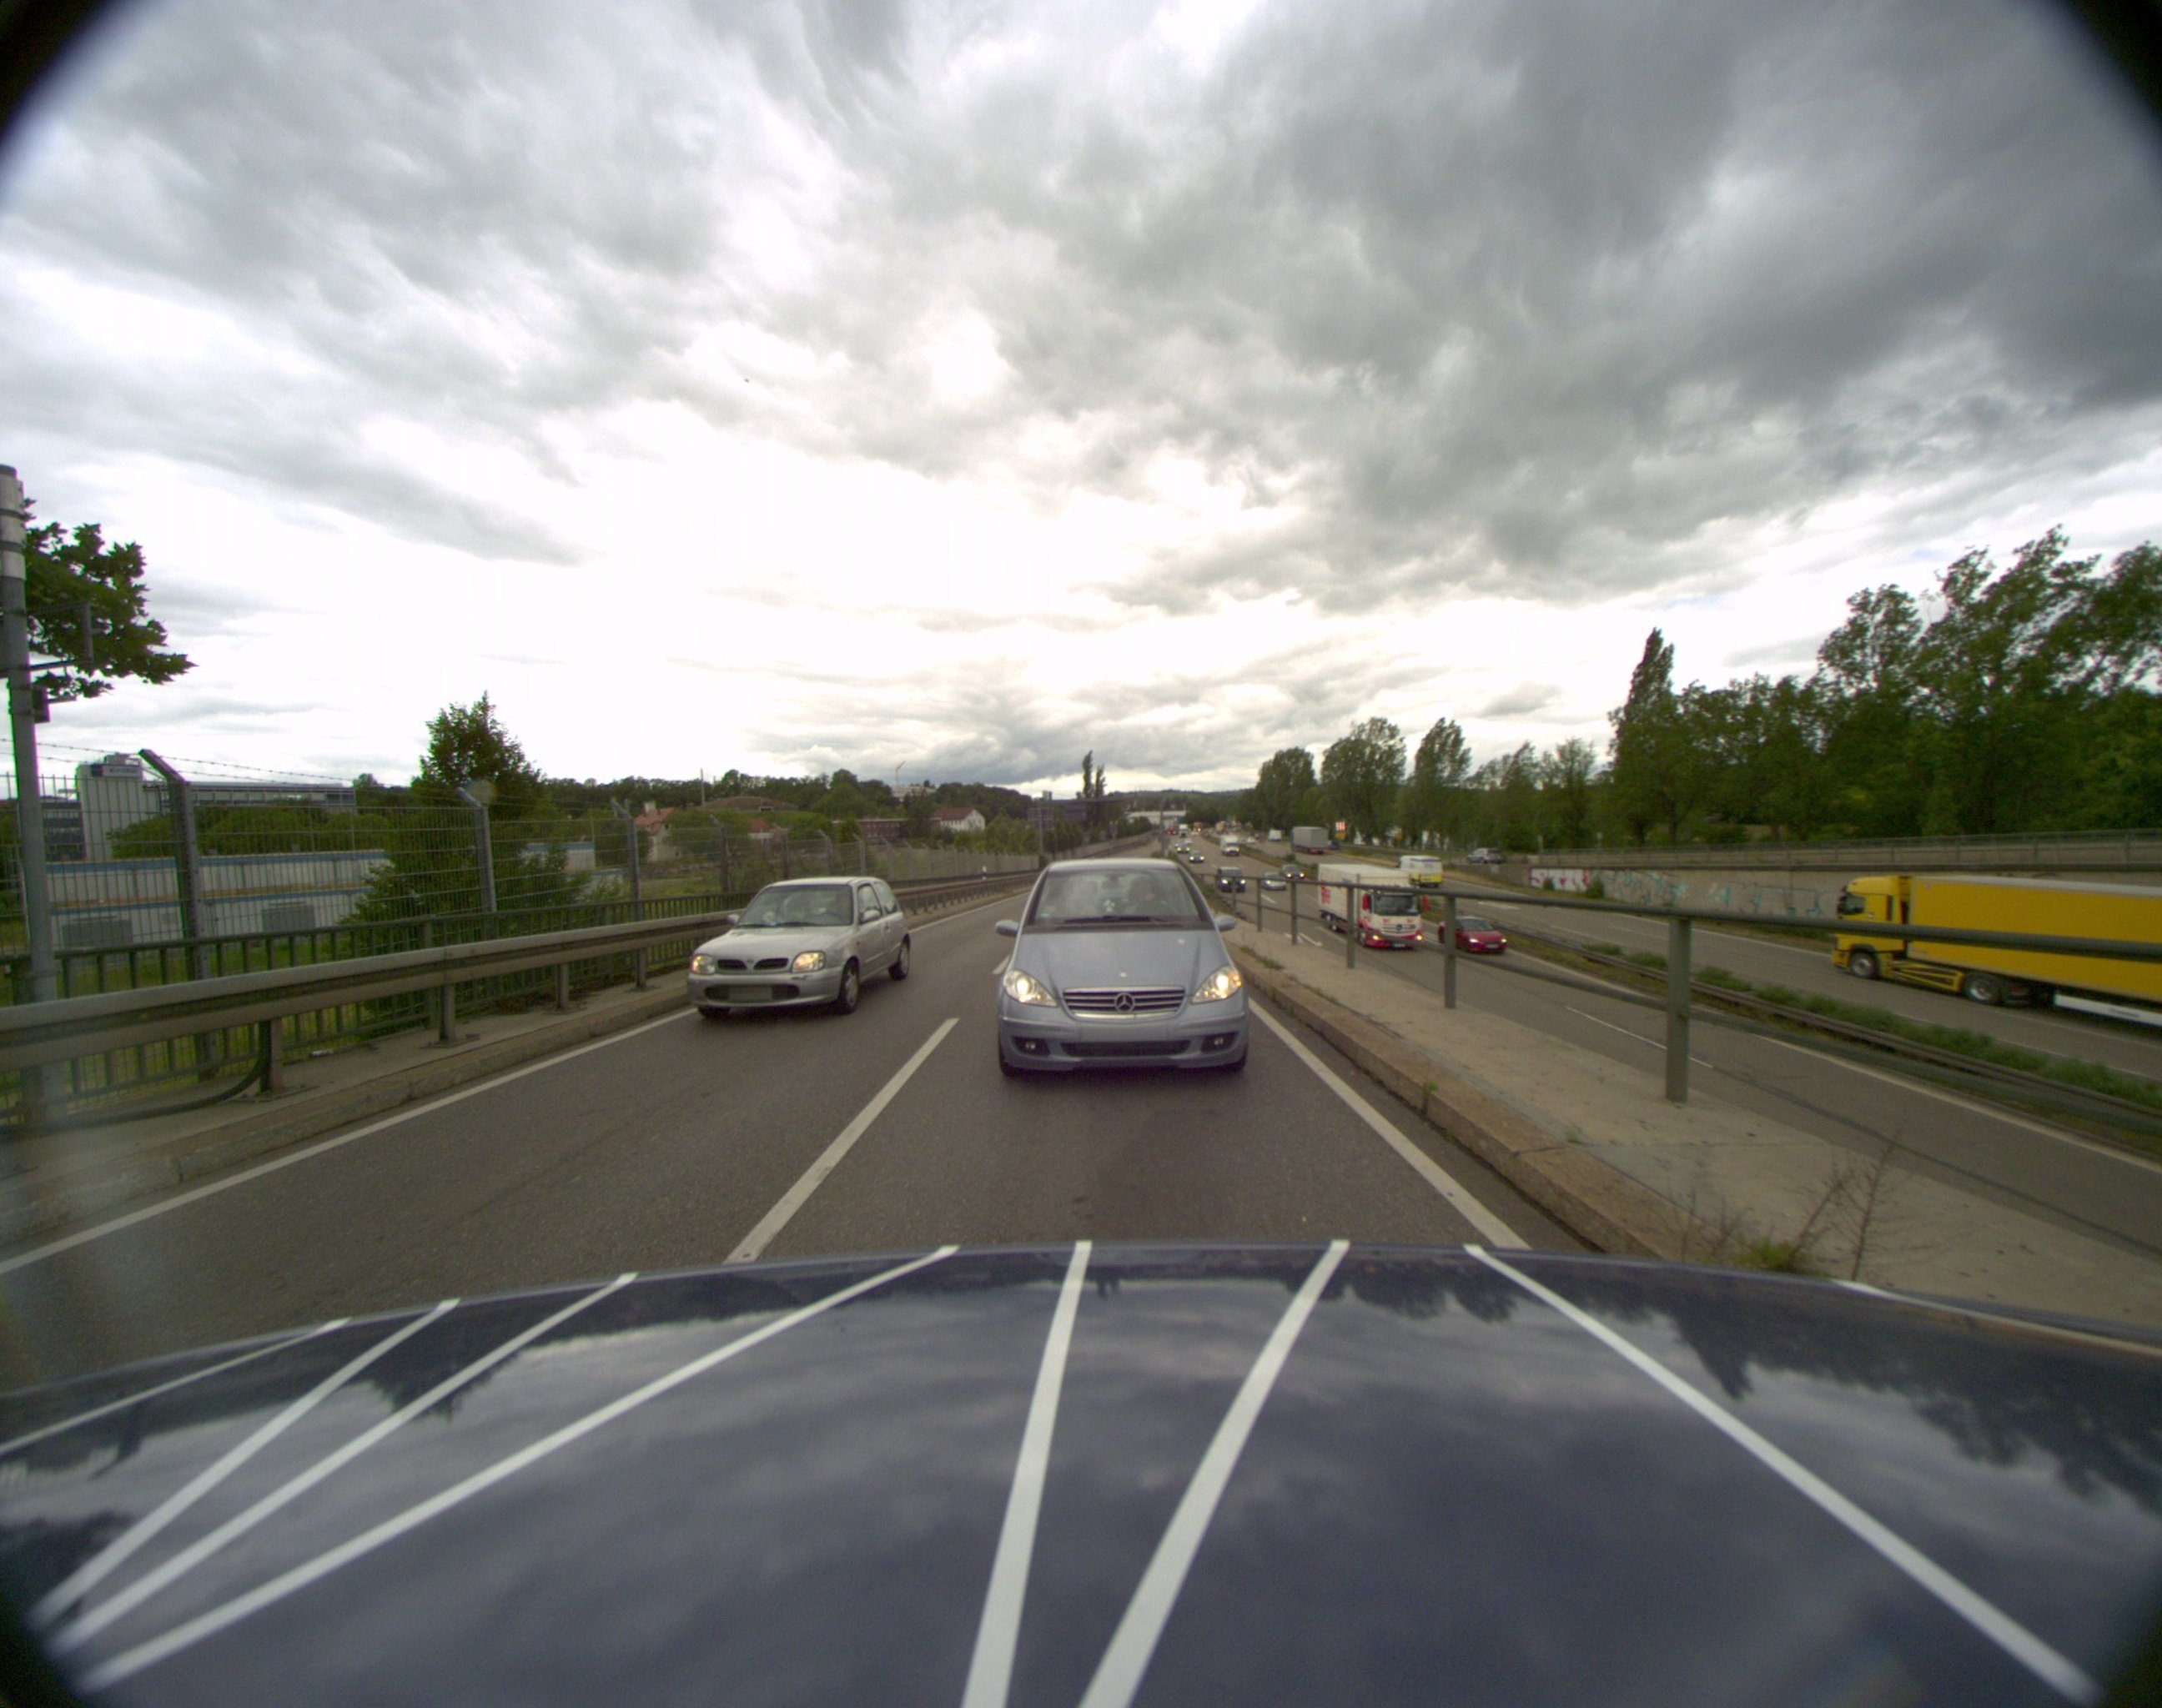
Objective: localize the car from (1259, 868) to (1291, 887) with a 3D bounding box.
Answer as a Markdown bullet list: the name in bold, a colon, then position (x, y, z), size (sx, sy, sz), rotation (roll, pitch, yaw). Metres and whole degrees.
- **car**: position (16.537, 1.972, 64.854), size (1.789, 1.294, 4.151), rotation (0, 3, 2)

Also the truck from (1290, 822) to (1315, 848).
- **truck**: position (37.191, -3.205, 127.731), size (2.793, 4.117, 5.934), rotation (-1, 3, 4)

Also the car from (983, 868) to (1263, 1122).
- **car**: position (0.297, 0.925, 6.765), size (1.743, 1.534, 3.993), rotation (-1, 0, 1)

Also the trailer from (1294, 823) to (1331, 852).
- **trailer**: position (36.711, -2.803, 121.035), size (2.793, 4.117, 13.759), rotation (-1, 3, 4)

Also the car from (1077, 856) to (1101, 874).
- **car**: position (0.838, 1.059, 74.530), size (1.799, 1.643, 4.153), rotation (-2, -1, 8)

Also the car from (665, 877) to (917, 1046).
- **car**: position (-3.131, 1.078, 8.942), size (1.589, 1.423, 3.442), rotation (-2, 1, 0)

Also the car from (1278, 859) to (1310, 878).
- **car**: position (20.330, 1.367, 72.680), size (1.863, 1.457, 4.423), rotation (-2, 3, 2)

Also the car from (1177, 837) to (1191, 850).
- **car**: position (16.963, -1.695, 125.248), size (1.998, 2.003, 3.999), rotation (1, 3, 3)

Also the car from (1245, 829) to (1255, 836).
- **car**: position (49.450, -6.375, 222.806), size (1.886, 1.807, 4.560), rotation (2, 3, 2)

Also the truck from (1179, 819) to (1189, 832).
- **truck**: position (32.501, -8.973, 239.844), size (3.009, 4.087, 5.873), rotation (0, 3, 6)

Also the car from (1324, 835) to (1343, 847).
- **car**: position (44.857, -2.346, 135.034), size (1.998, 1.890, 4.583), rotation (2, 3, 5)

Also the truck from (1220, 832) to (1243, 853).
- **truck**: position (23.148, -1.850, 116.896), size (2.239, 2.993, 7.228), rotation (-1, 3, 1)

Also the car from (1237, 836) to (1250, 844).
- **car**: position (32.962, -2.769, 154.181), size (1.998, 1.412, 3.999), rotation (2, 3, 4)

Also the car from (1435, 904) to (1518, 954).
- **car**: position (18.296, 3.429, 35.393), size (1.834, 1.570, 4.180), rotation (-2, 4, 2)

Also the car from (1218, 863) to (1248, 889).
- **car**: position (12.633, 1.803, 63.395), size (1.998, 1.830, 4.424), rotation (0, 3, 5)

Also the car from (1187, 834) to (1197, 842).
- **car**: position (24.220, -3.454, 165.544), size (1.769, 1.520, 3.334), rotation (0, 3, 1)

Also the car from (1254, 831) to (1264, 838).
- **car**: position (47.597, -5.288, 203.303), size (1.886, 1.807, 4.560), rotation (2, 3, 2)

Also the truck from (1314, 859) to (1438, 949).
- **truck**: position (14.906, 2.310, 39.464), size (2.889, 3.506, 9.869), rotation (1, 3, 3)

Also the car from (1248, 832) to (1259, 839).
- **car**: position (37.978, -4.008, 167.118), size (1.682, 1.412, 3.999), rotation (0, 3, 4)

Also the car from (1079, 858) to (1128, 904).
- **car**: position (0.913, 1.088, 31.348), size (1.830, 1.701, 4.001), rotation (-2, -1, 1)

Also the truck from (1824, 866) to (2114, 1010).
- **truck**: position (30.504, 2.672, 26.607), size (3.248, 4.159, 5.801), rotation (0, 3, 2)

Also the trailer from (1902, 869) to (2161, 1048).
- **trailer**: position (30.212, 3.018, 19.719), size (3.248, 4.239, 13.674), rotation (0, 3, 2)

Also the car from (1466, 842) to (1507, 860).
- **car**: position (40.376, -0.277, 75.807), size (1.897, 1.642, 4.378), rotation (-3, 0, 3)

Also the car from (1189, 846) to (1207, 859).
- **car**: position (15.480, -0.194, 100.596), size (1.828, 1.443, 4.125), rotation (0, 3, 1)

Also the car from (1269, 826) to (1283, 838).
- **car**: position (46.998, -5.260, 183.088), size (1.998, 2.635, 5.179), rotation (2, 3, 2)

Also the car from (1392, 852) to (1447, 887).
- **car**: position (29.348, 1.257, 66.161), size (1.998, 2.614, 6.711), rotation (1, 3, 3)
